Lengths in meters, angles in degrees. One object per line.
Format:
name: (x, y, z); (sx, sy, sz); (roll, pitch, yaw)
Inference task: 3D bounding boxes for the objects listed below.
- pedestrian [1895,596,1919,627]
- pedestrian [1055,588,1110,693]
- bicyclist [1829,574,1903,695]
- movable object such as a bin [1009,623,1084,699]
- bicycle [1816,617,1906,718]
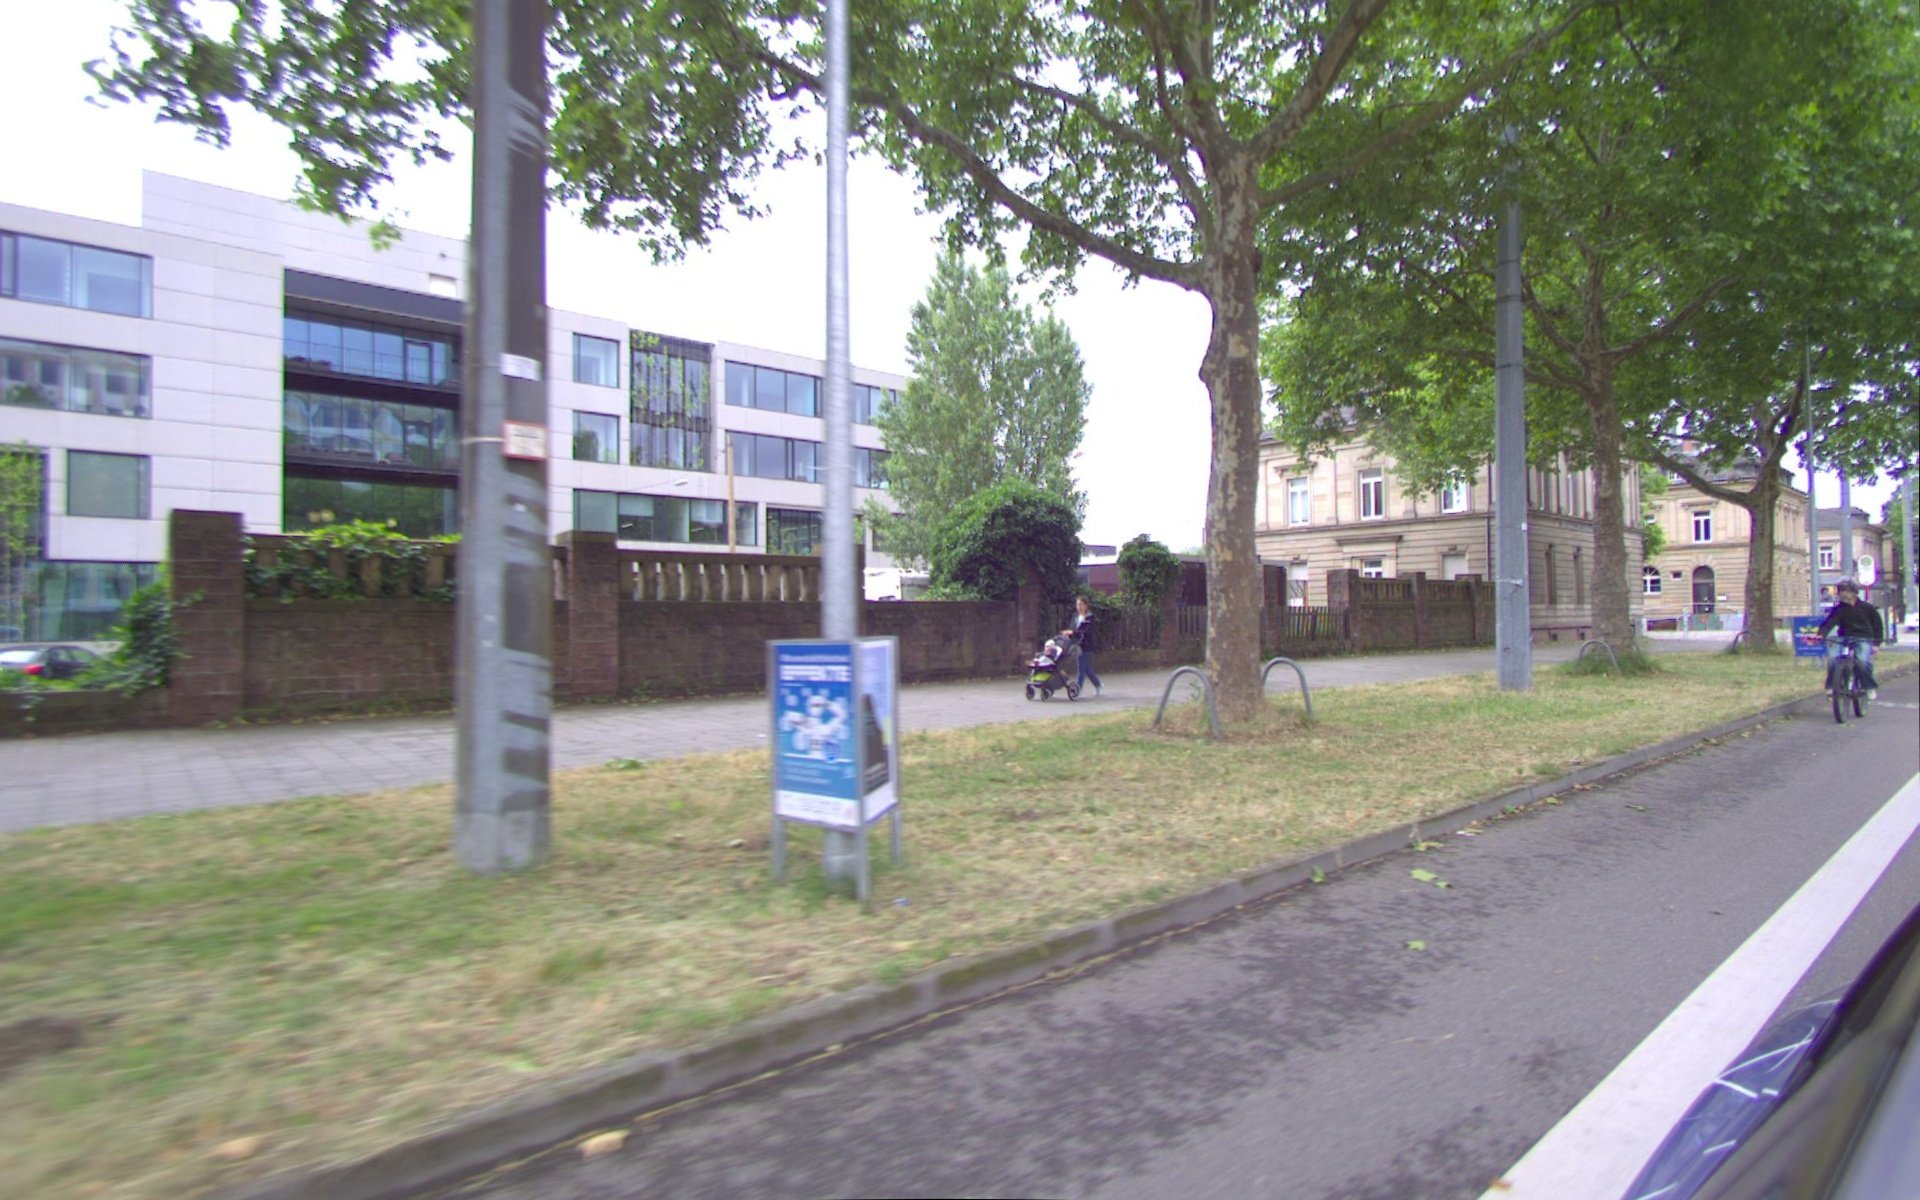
pedestrian: (53.657, 0.650, 57.310); (0.980, 1.699, 0.721); (-1, -1, -31)
pedestrian: (1.981, 0.636, 16.372); (0.657, 1.653, 0.560); (-1, -1, -35)
bicyclist: (12.018, 0.440, 13.418); (0.653, 1.550, 0.641); (0, -1, -43)
movable object such as a bin: (1.344, 0.930, 15.774); (0.995, 1.126, 0.613); (0, -1, -35)
bicycle: (11.810, 0.838, 13.239); (2.245, 1.164, 0.653); (-1, -1, -43)
